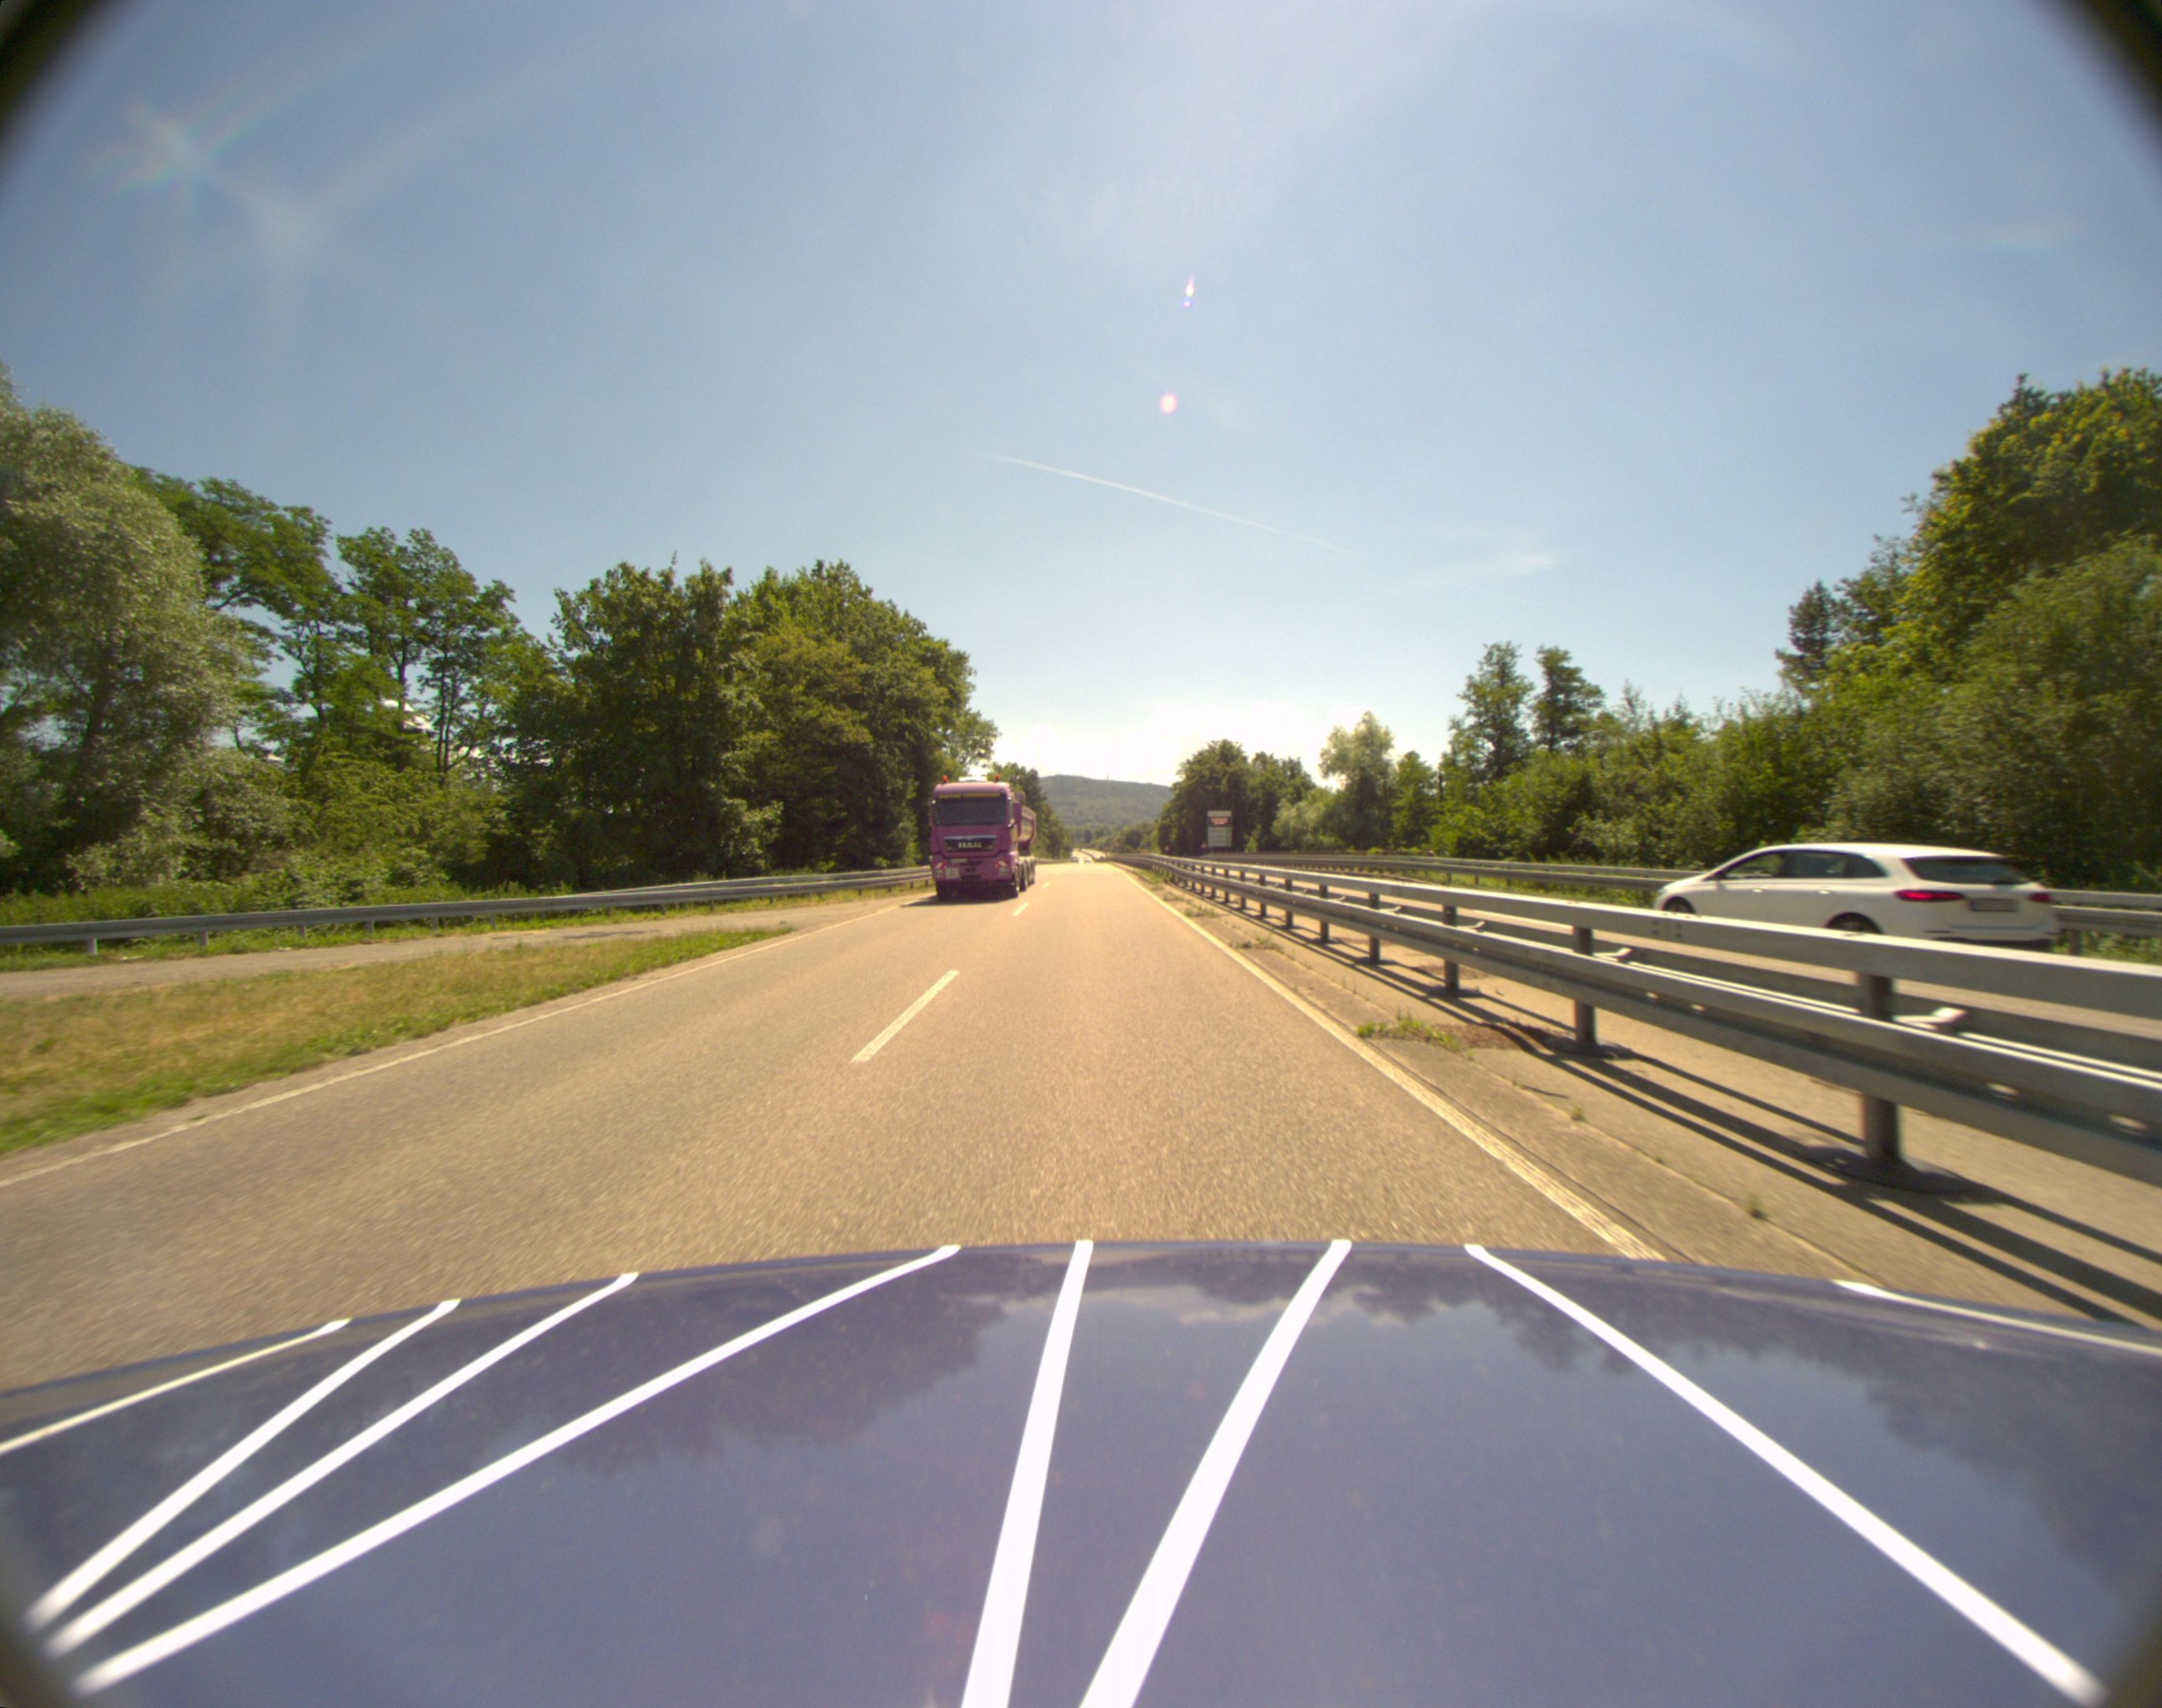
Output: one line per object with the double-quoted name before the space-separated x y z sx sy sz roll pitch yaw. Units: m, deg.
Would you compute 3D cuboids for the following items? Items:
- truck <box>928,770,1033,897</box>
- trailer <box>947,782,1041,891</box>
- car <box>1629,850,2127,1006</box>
"truck" -3.158 -0.614 25.380 2.605 3.670 5.938 -2 0 0
"trailer" -3.163 -0.584 29.878 2.605 3.608 8.613 -2 0 0
"car" 10.339 0.794 10.617 1.823 1.590 4.840 1 1 0
